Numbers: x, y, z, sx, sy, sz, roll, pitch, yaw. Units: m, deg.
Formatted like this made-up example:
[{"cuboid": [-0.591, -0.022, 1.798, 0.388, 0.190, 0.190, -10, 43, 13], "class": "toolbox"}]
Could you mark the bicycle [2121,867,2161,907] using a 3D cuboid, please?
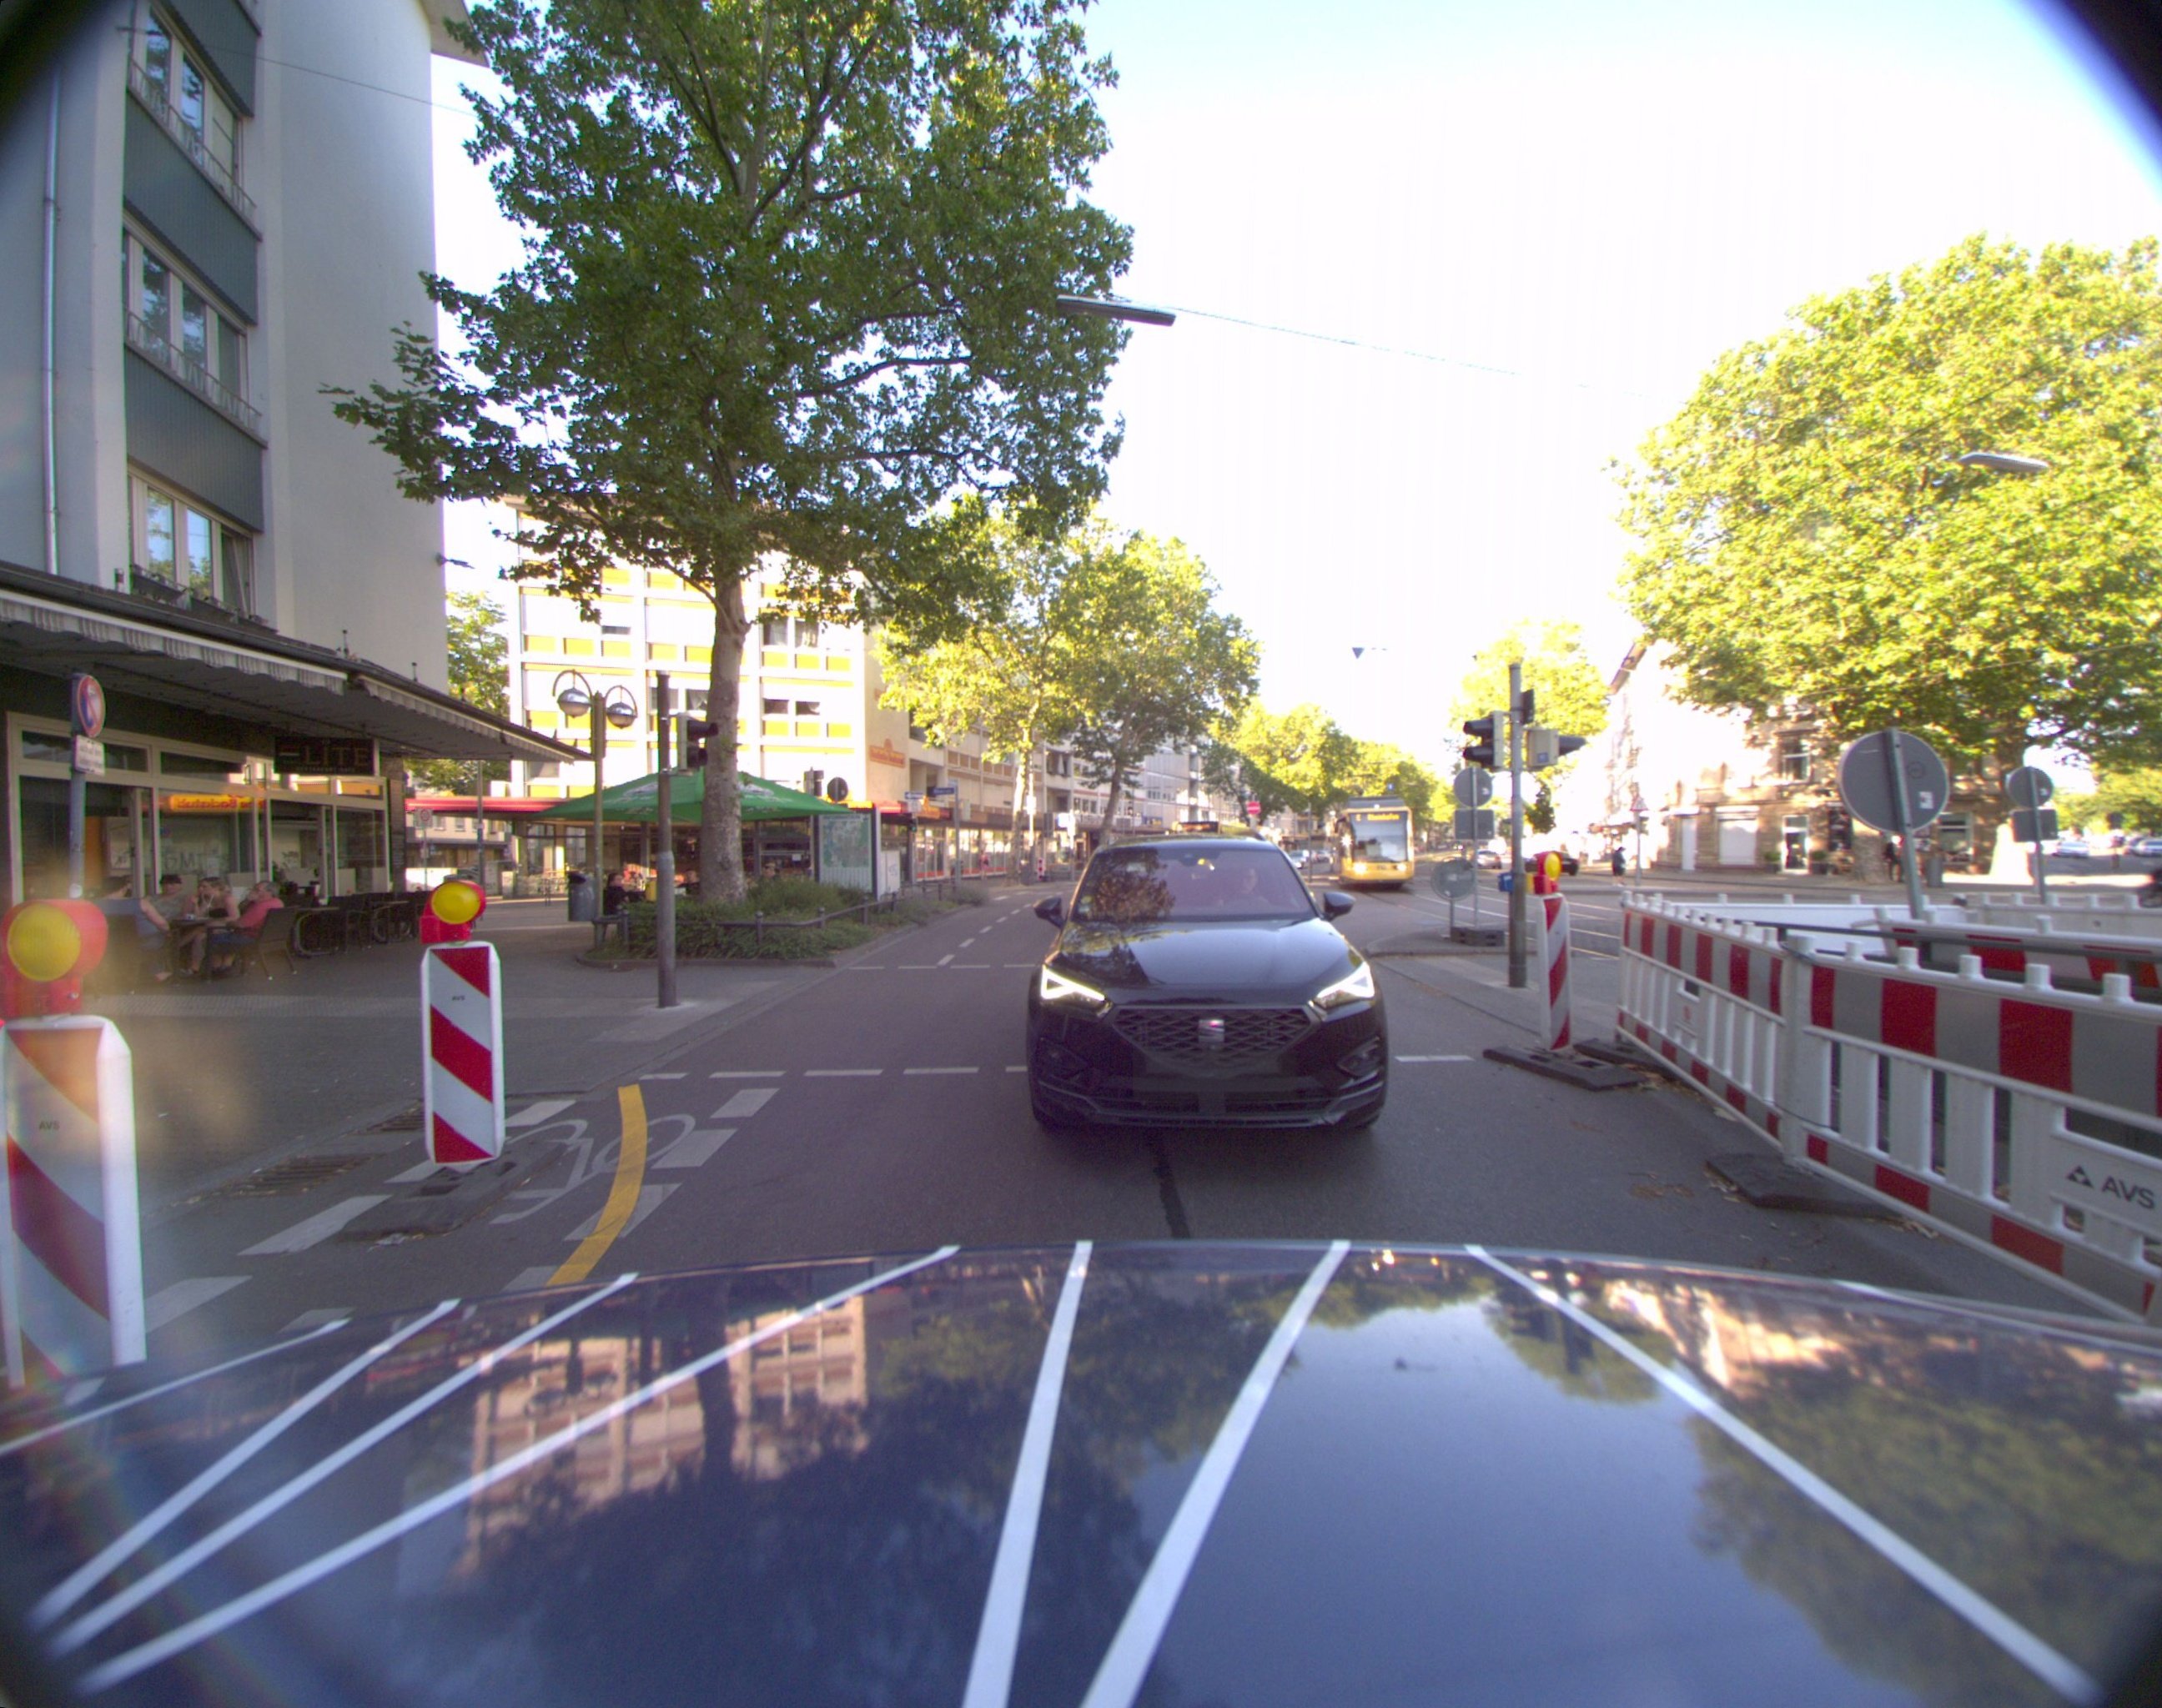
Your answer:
[{"cuboid": [24.485, 0.752, 16.742, 0.561, 0.857, 1.800, -1, 1, -7], "class": "bicycle"}]

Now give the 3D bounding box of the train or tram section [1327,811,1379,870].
[{"cuboid": [18.021, -0.898, 50.391, 2.874, 3.467, 10.352, -1, 1, 20], "class": "train or tram section"}]

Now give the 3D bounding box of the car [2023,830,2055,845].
[{"cuboid": [94.382, -1.619, 74.832, 4.007, 1.485, 1.723, -1, 1, -36], "class": "car"}]

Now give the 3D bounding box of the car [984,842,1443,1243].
[{"cuboid": [0.690, 0.784, 5.312, 1.848, 1.648, 4.300, -2, 0, 4], "class": "car"}]

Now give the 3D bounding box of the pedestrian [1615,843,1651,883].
[{"cuboid": [20.735, 0.331, 28.546, 0.798, 1.500, 0.800, -1, 1, -23], "class": "pedestrian"}]

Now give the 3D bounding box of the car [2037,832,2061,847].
[{"cuboid": [134.868, -2.065, 105.864, 4.007, 2.004, 1.846, -1, 1, -36], "class": "car"}]

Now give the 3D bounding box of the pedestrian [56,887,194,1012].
[{"cuboid": [-10.214, 0.984, 8.151, 0.651, 1.244, 0.716, 0, 0, -24], "class": "pedestrian"}]

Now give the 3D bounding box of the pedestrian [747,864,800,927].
[{"cuboid": [-6.535, 0.873, 16.186, 0.718, 1.278, 0.769, -1, 1, 13], "class": "pedestrian"}]

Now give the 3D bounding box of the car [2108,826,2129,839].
[{"cuboid": [161.230, -3.300, 118.051, 4.007, 2.004, 1.846, -1, 1, -36], "class": "car"}]

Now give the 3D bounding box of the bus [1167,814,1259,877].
[{"cuboid": [7.537, -0.469, 42.026, 2.748, 3.085, 9.512, 0, 1, 24], "class": "bus"}]

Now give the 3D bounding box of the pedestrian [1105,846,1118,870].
[{"cuboid": [2.261, 0.314, 56.848, 0.748, 1.747, 0.903, -1, 1, 17], "class": "pedestrian"}]

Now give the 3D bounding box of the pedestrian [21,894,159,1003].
[{"cuboid": [-11.080, 1.028, 8.525, 0.718, 1.123, 0.649, 0, 0, -24], "class": "pedestrian"}]

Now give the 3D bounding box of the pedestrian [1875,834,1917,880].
[{"cuboid": [31.998, 0.112, 29.829, 0.797, 1.746, 0.802, -1, 1, 0], "class": "pedestrian"}]

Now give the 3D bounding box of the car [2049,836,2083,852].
[{"cuboid": [91.057, -0.935, 70.226, 4.007, 1.485, 1.723, -1, 1, -36], "class": "car"}]

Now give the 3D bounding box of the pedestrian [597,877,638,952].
[{"cuboid": [-7.775, 1.004, 12.750, 0.469, 1.212, 0.431, -2, 1, -44], "class": "pedestrian"}]

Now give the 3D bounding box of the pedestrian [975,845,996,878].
[{"cuboid": [-5.141, 0.381, 40.949, 0.748, 1.747, 0.903, -1, 1, 17], "class": "pedestrian"}]

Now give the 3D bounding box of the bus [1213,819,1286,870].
[{"cuboid": [11.446, -0.610, 50.721, 2.748, 3.085, 9.512, 0, 1, 25], "class": "bus"}]

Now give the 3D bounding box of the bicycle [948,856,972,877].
[{"cuboid": [-6.662, 0.668, 42.034, 0.528, 1.136, 1.976, -1, 1, 15], "class": "bicycle"}]

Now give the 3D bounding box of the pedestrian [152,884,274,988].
[{"cuboid": [-10.687, 0.986, 9.381, 0.666, 1.211, 0.717, 0, 0, -5], "class": "pedestrian"}]

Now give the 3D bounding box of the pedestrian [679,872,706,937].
[{"cuboid": [-7.405, 0.951, 14.485, 0.433, 1.212, 0.467, 0, 1, -29], "class": "pedestrian"}]

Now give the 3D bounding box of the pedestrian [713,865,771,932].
[{"cuboid": [-6.803, 0.877, 15.262, 0.718, 1.278, 0.769, -1, 1, 14], "class": "pedestrian"}]

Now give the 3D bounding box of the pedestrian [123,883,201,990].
[{"cuboid": [-11.237, 0.988, 9.294, 0.519, 1.236, 0.553, 0, 0, 34], "class": "pedestrian"}]

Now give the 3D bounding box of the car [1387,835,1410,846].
[{"cuboid": [64.324, -2.724, 153.863, 4.000, 2.002, 1.879, -1, 1, -8], "class": "car"}]

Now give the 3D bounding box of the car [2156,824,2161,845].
[{"cuboid": [111.523, -2.059, 77.666, 4.007, 2.131, 1.846, -1, 1, -36], "class": "car"}]

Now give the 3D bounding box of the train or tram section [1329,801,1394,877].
[{"cuboid": [14.775, -0.758, 40.572, 2.839, 3.467, 10.351, -1, 1, 18], "class": "train or tram section"}]

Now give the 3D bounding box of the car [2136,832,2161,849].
[{"cuboid": [98.347, -1.257, 69.752, 4.007, 1.485, 1.723, -1, 1, -36], "class": "car"}]

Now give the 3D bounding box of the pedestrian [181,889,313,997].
[{"cuboid": [-9.841, 1.018, 9.001, 0.847, 1.191, 0.649, 0, 0, -22], "class": "pedestrian"}]

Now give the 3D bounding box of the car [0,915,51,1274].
[{"cuboid": [-5.167, 0.987, 1.426, 1.623, 1.457, 3.604, 1, 0, -2], "class": "car"}]

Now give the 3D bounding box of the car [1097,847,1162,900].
[{"cuboid": [1.636, 0.552, 24.159, 1.743, 1.492, 4.301, -2, 0, 7], "class": "car"}]

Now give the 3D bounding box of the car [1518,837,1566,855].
[{"cuboid": [52.688, -0.944, 86.804, 4.651, 1.965, 1.901, -1, 1, -11], "class": "car"}]

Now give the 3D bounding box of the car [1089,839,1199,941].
[{"cuboid": [1.247, 0.569, 14.626, 1.743, 1.630, 4.300, -2, 0, 6], "class": "car"}]

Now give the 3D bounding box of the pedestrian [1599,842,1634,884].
[{"cuboid": [19.935, 0.323, 28.287, 0.799, 1.500, 0.800, -1, 1, -28], "class": "pedestrian"}]

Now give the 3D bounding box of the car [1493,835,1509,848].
[{"cuboid": [68.397, -2.034, 123.620, 2.162, 2.110, 4.987, 1, 1, 29], "class": "car"}]

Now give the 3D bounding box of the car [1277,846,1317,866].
[{"cuboid": [17.681, 0.110, 62.043, 1.907, 1.467, 4.426, 0, 2, 32], "class": "car"}]

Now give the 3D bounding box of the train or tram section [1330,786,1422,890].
[{"cuboid": [11.614, -0.602, 30.704, 2.819, 3.467, 10.351, -1, 1, 18], "class": "train or tram section"}]

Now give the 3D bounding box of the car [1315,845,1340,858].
[{"cuboid": [29.798, -0.298, 91.851, 2.627, 1.464, 1.201, -1, 2, 3], "class": "car"}]

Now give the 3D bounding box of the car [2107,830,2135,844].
[{"cuboid": [109.056, -1.780, 79.669, 4.007, 1.485, 1.723, -1, 1, -36], "class": "car"}]

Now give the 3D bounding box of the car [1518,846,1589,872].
[{"cuboid": [28.017, 0.273, 45.207, 1.997, 1.440, 4.541, 0, 0, 9], "class": "car"}]

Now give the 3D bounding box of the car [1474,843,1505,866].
[{"cuboid": [30.837, 0.021, 57.259, 1.949, 1.645, 4.699, 0, 0, 30], "class": "car"}]
